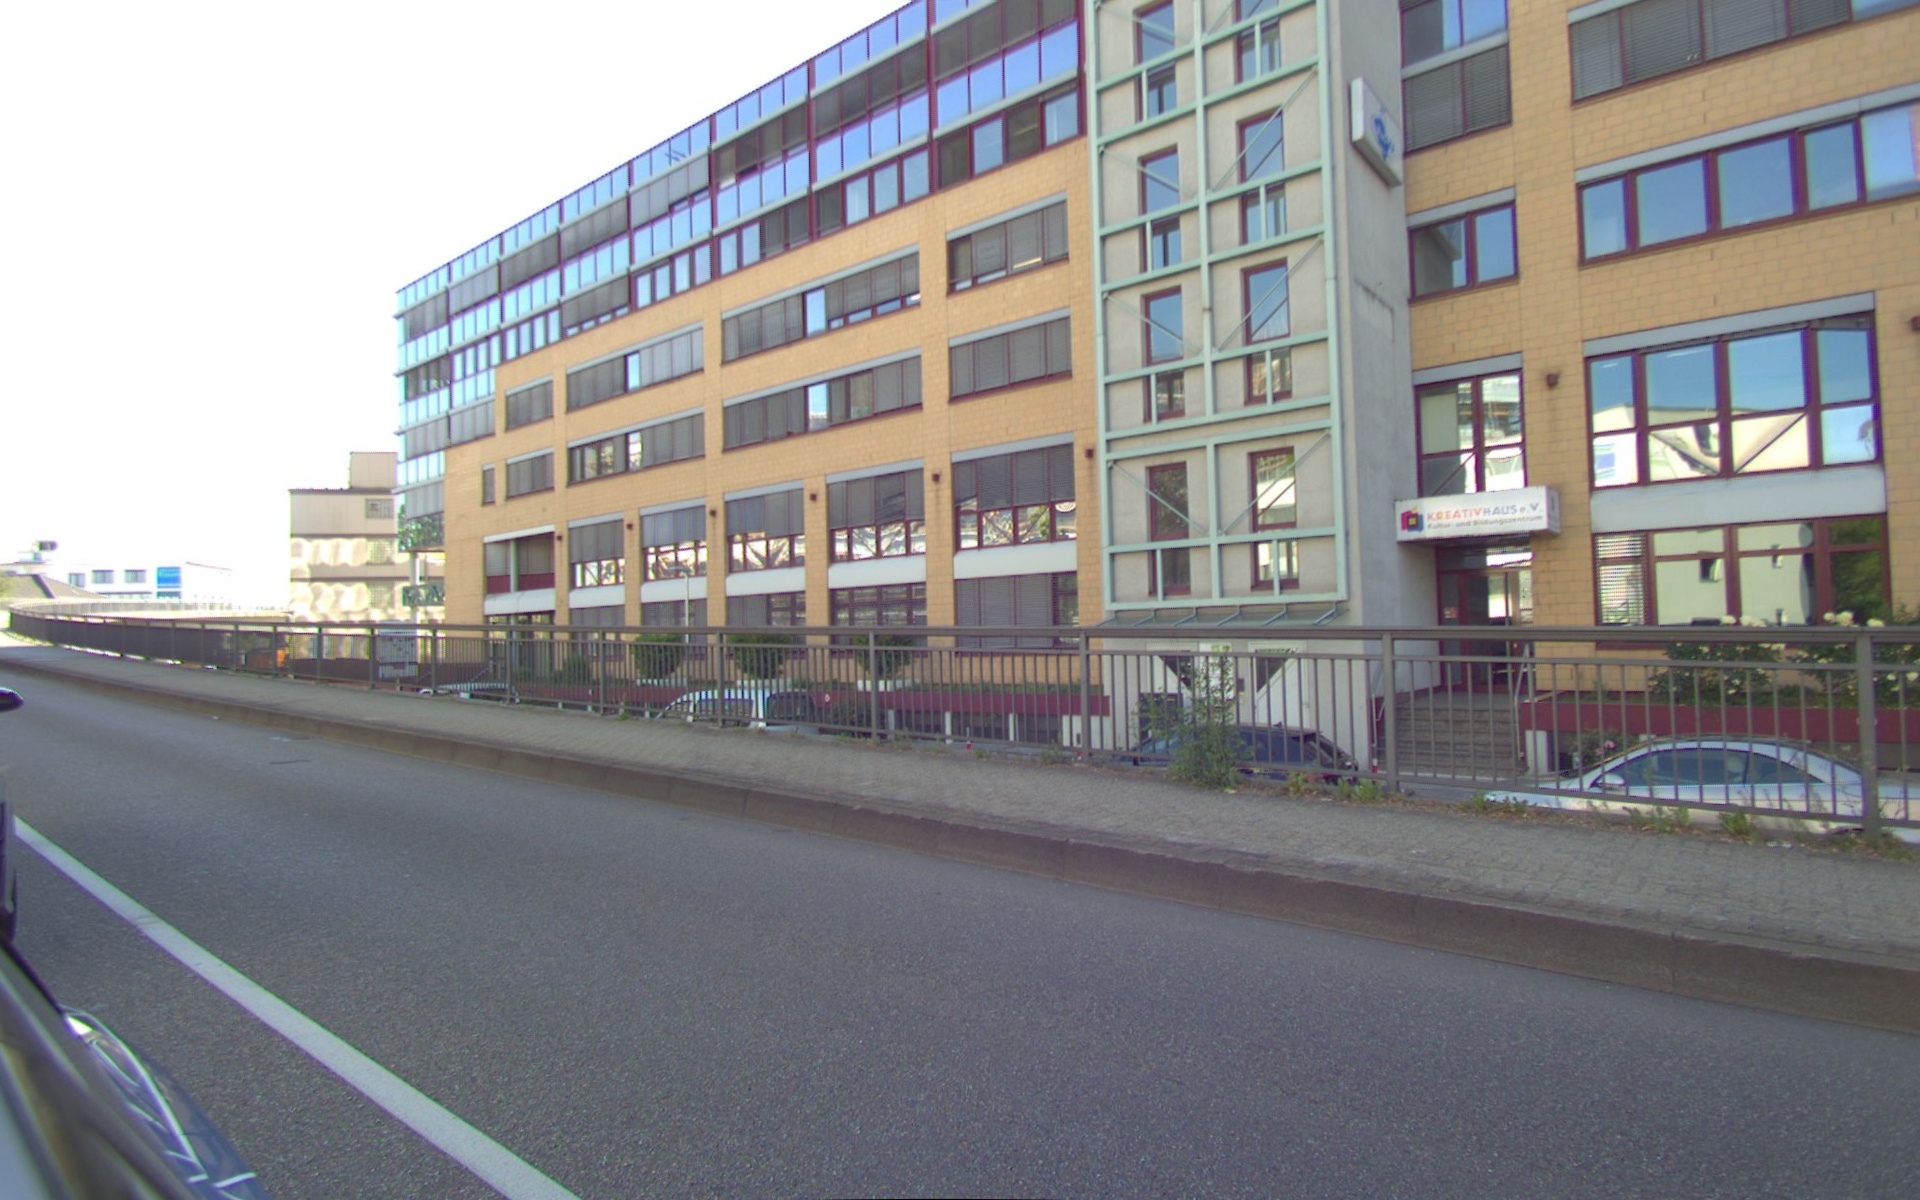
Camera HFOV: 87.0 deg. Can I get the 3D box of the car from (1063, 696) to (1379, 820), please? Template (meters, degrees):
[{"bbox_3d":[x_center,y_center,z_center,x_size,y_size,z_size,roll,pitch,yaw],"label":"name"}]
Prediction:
[{"bbox_3d":[3.401,2.001,13.569,3.805,1.279,1.560,-3,-4,40],"label":"car"}]

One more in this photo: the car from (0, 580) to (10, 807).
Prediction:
[{"bbox_3d":[-5.842,0.794,4.653,3.998,1.660,1.726,-3,-4,41],"label":"car"}]

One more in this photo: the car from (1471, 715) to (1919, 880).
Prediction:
[{"bbox_3d":[7.688,1.879,10.201,4.254,1.175,1.704,-3,-4,40],"label":"car"}]

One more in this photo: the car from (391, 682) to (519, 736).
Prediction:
[{"bbox_3d":[-13.817,2.921,27.621,3.805,1.279,1.744,-3,-4,40],"label":"car"}]

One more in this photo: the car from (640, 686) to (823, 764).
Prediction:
[{"bbox_3d":[-4.591,2.419,20.122,3.805,1.279,1.560,-3,-4,40],"label":"car"}]
